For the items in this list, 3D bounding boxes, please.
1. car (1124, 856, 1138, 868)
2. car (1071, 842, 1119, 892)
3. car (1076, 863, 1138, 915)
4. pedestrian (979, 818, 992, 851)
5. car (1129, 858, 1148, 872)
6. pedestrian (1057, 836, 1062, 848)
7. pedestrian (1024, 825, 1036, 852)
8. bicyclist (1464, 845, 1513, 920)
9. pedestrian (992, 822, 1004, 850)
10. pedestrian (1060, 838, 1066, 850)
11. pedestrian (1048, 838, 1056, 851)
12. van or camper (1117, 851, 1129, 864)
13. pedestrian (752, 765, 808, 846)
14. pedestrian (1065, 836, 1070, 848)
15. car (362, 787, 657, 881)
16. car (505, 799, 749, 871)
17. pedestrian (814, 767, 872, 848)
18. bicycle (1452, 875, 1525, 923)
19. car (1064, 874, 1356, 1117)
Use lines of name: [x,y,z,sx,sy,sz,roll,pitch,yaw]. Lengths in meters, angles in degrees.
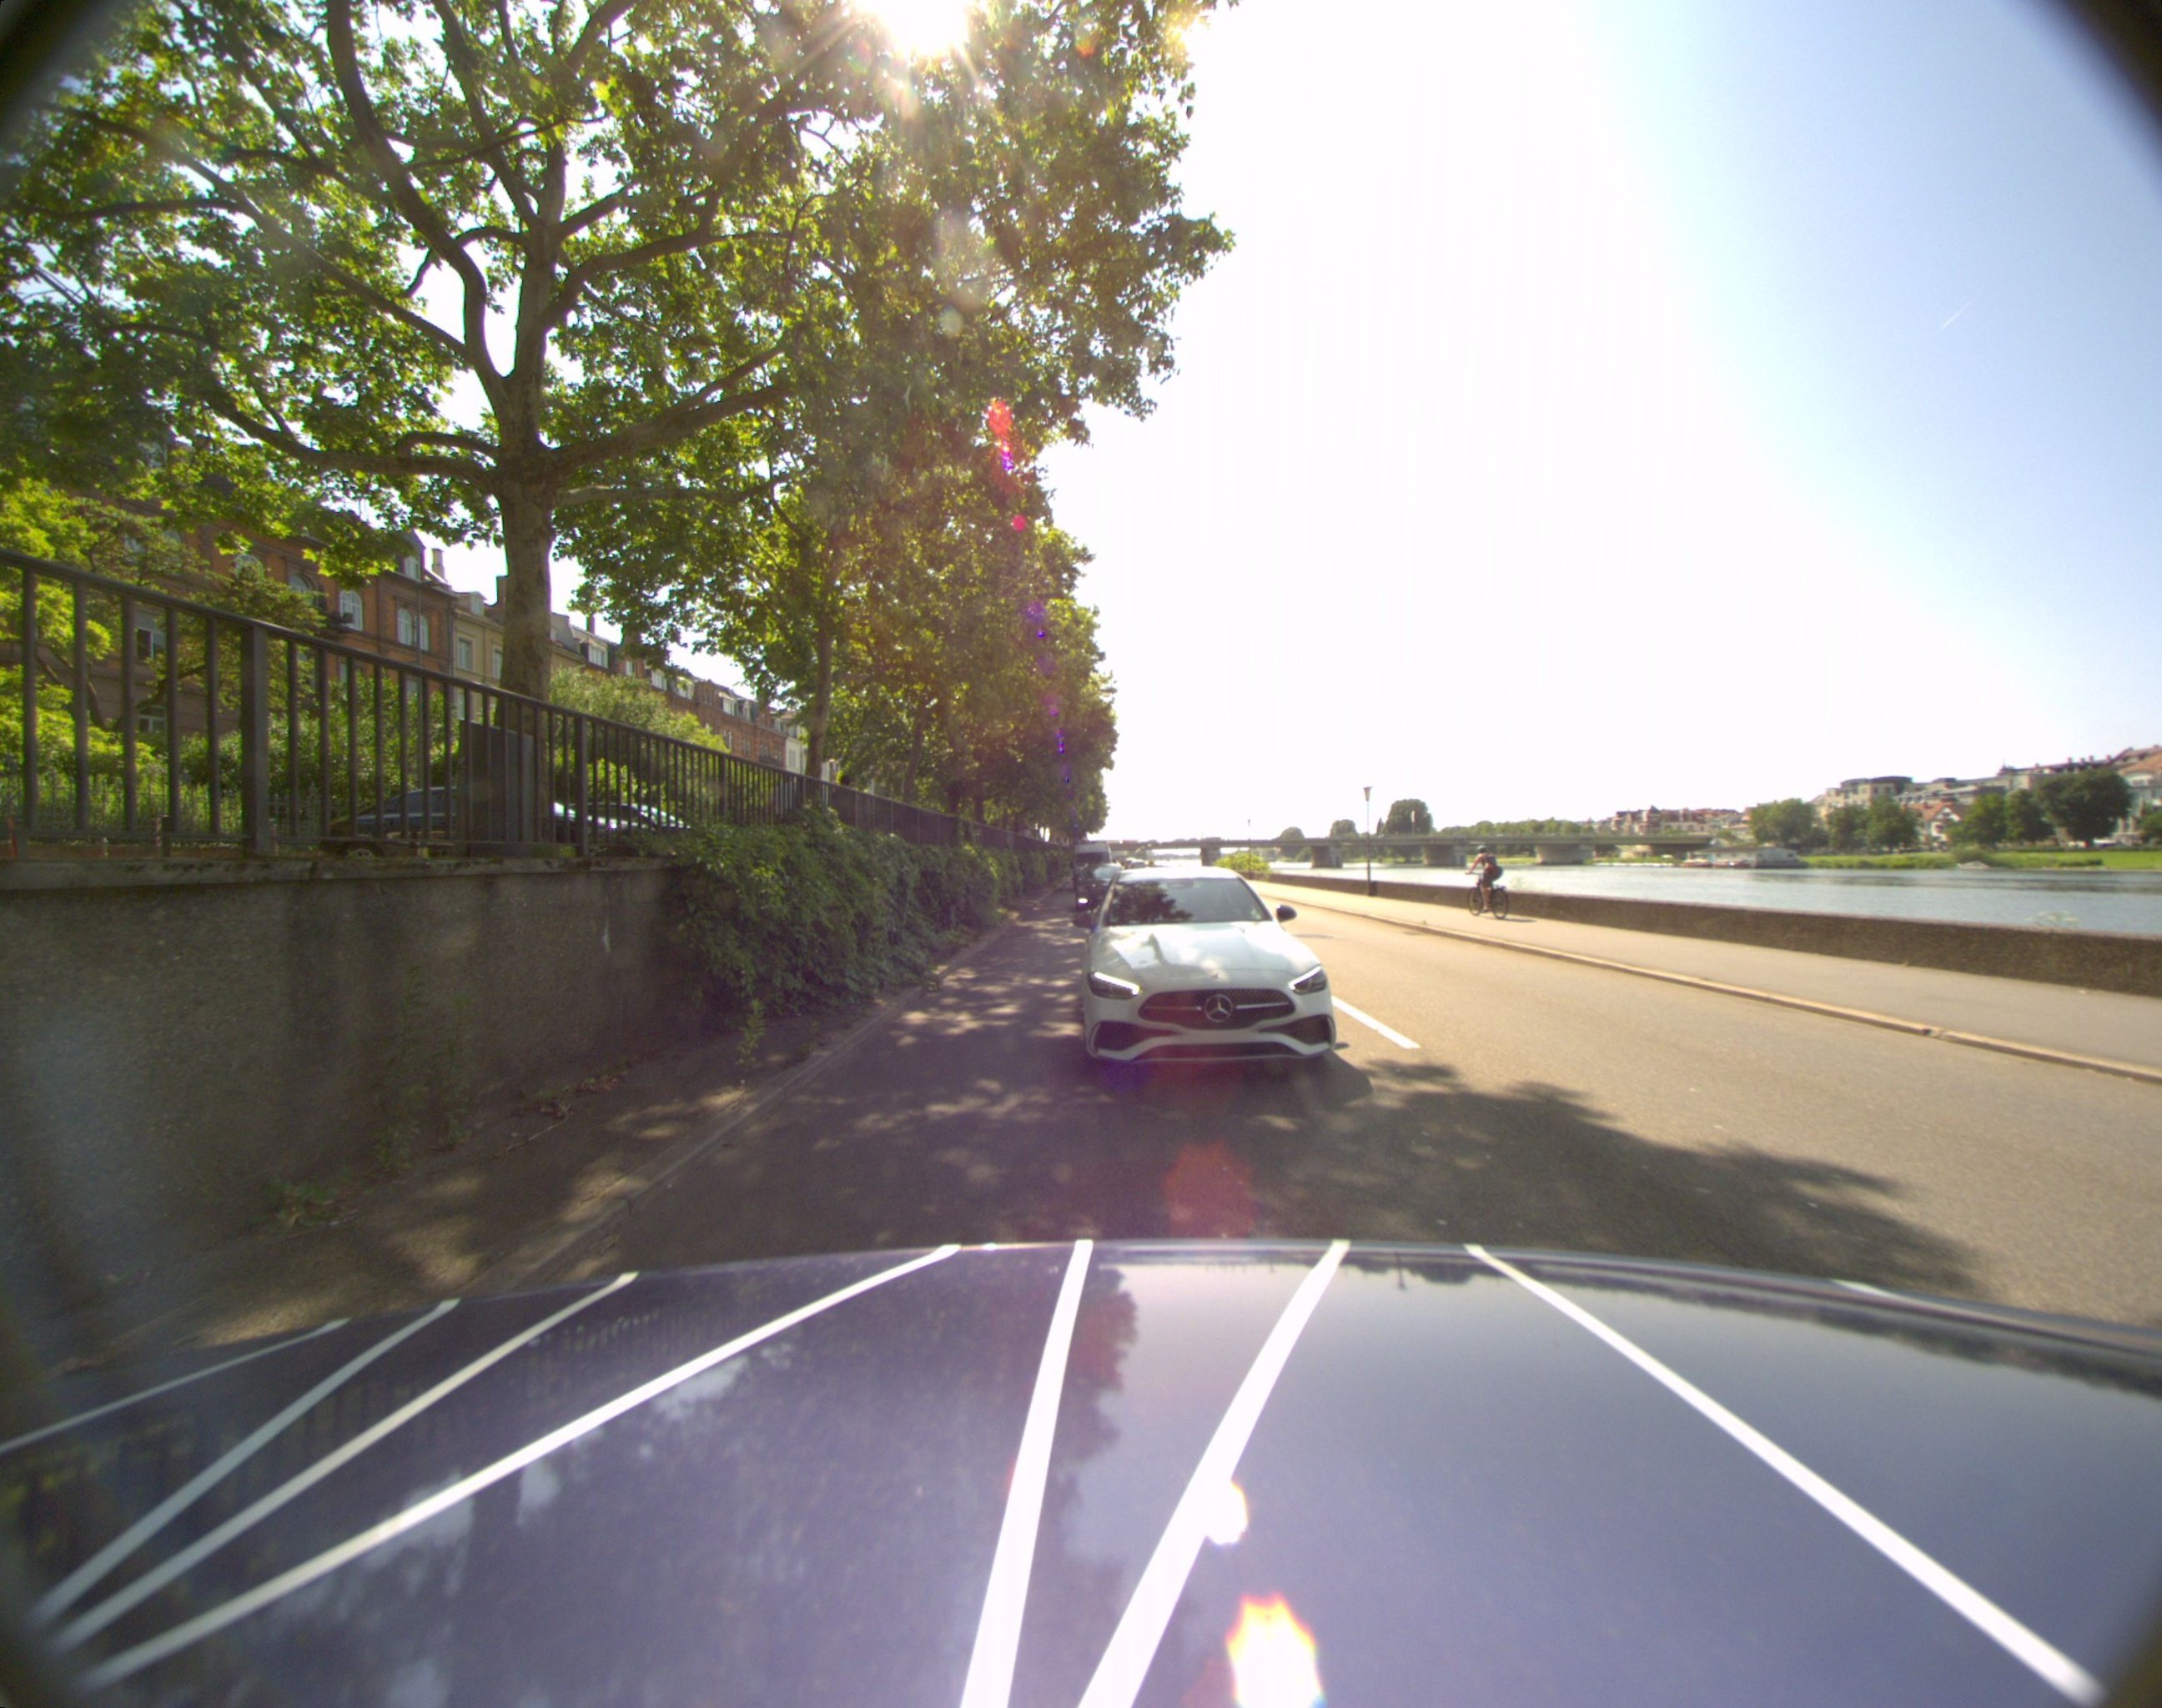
car: [7.162,1.076,108.100,1.736,1.640,4.177,1,0,0]
car: [0.706,0.654,40.818,2.351,2.428,6.209,-1,0,0]
car: [0.781,1.054,24.550,1.756,1.385,4.619,-2,0,0]
pedestrian: [-4.847,-0.997,38.514,0.649,1.630,0.626,-1,0,-7]
car: [6.181,1.179,82.602,1.736,1.433,4.045,2,0,0]
pedestrian: [-3.114,-1.713,109.189,0.738,1.582,0.811,0,0,1]
pedestrian: [-3.116,-0.936,46.323,0.666,1.582,0.651,0,0,1]
bicyclist: [9.344,0.646,17.455,0.639,1.664,0.871,-1,0,0]
pedestrian: [-4.250,-0.897,38.836,0.586,1.411,0.589,-1,0,-7]
pedestrian: [-2.318,-1.320,99.816,0.738,1.582,0.811,0,0,1]
pedestrian: [-2.925,-0.942,76.974,0.713,1.236,0.742,0,0,0]
van or camper: [8.089,0.641,145.995,2.082,2.384,5.385,1,0,1]
pedestrian: [-5.277,-0.832,13.353,0.645,1.358,0.794,2,0,-1]
pedestrian: [-1.955,-1.724,109.519,0.666,1.582,0.765,0,0,1]
car: [-8.477,-0.297,11.372,3.528,1.228,1.516,2,0,11]
car: [-8.803,-0.348,15.015,3.737,1.228,1.673,2,0,-8]
pedestrian: [-4.195,-0.802,13.447,0.755,1.358,0.814,2,0,-1]
bicycle: [9.415,1.016,17.640,0.634,1.006,1.986,-1,0,0]
car: [0.880,0.973,7.163,1.830,1.411,4.553,-2,0,1]
